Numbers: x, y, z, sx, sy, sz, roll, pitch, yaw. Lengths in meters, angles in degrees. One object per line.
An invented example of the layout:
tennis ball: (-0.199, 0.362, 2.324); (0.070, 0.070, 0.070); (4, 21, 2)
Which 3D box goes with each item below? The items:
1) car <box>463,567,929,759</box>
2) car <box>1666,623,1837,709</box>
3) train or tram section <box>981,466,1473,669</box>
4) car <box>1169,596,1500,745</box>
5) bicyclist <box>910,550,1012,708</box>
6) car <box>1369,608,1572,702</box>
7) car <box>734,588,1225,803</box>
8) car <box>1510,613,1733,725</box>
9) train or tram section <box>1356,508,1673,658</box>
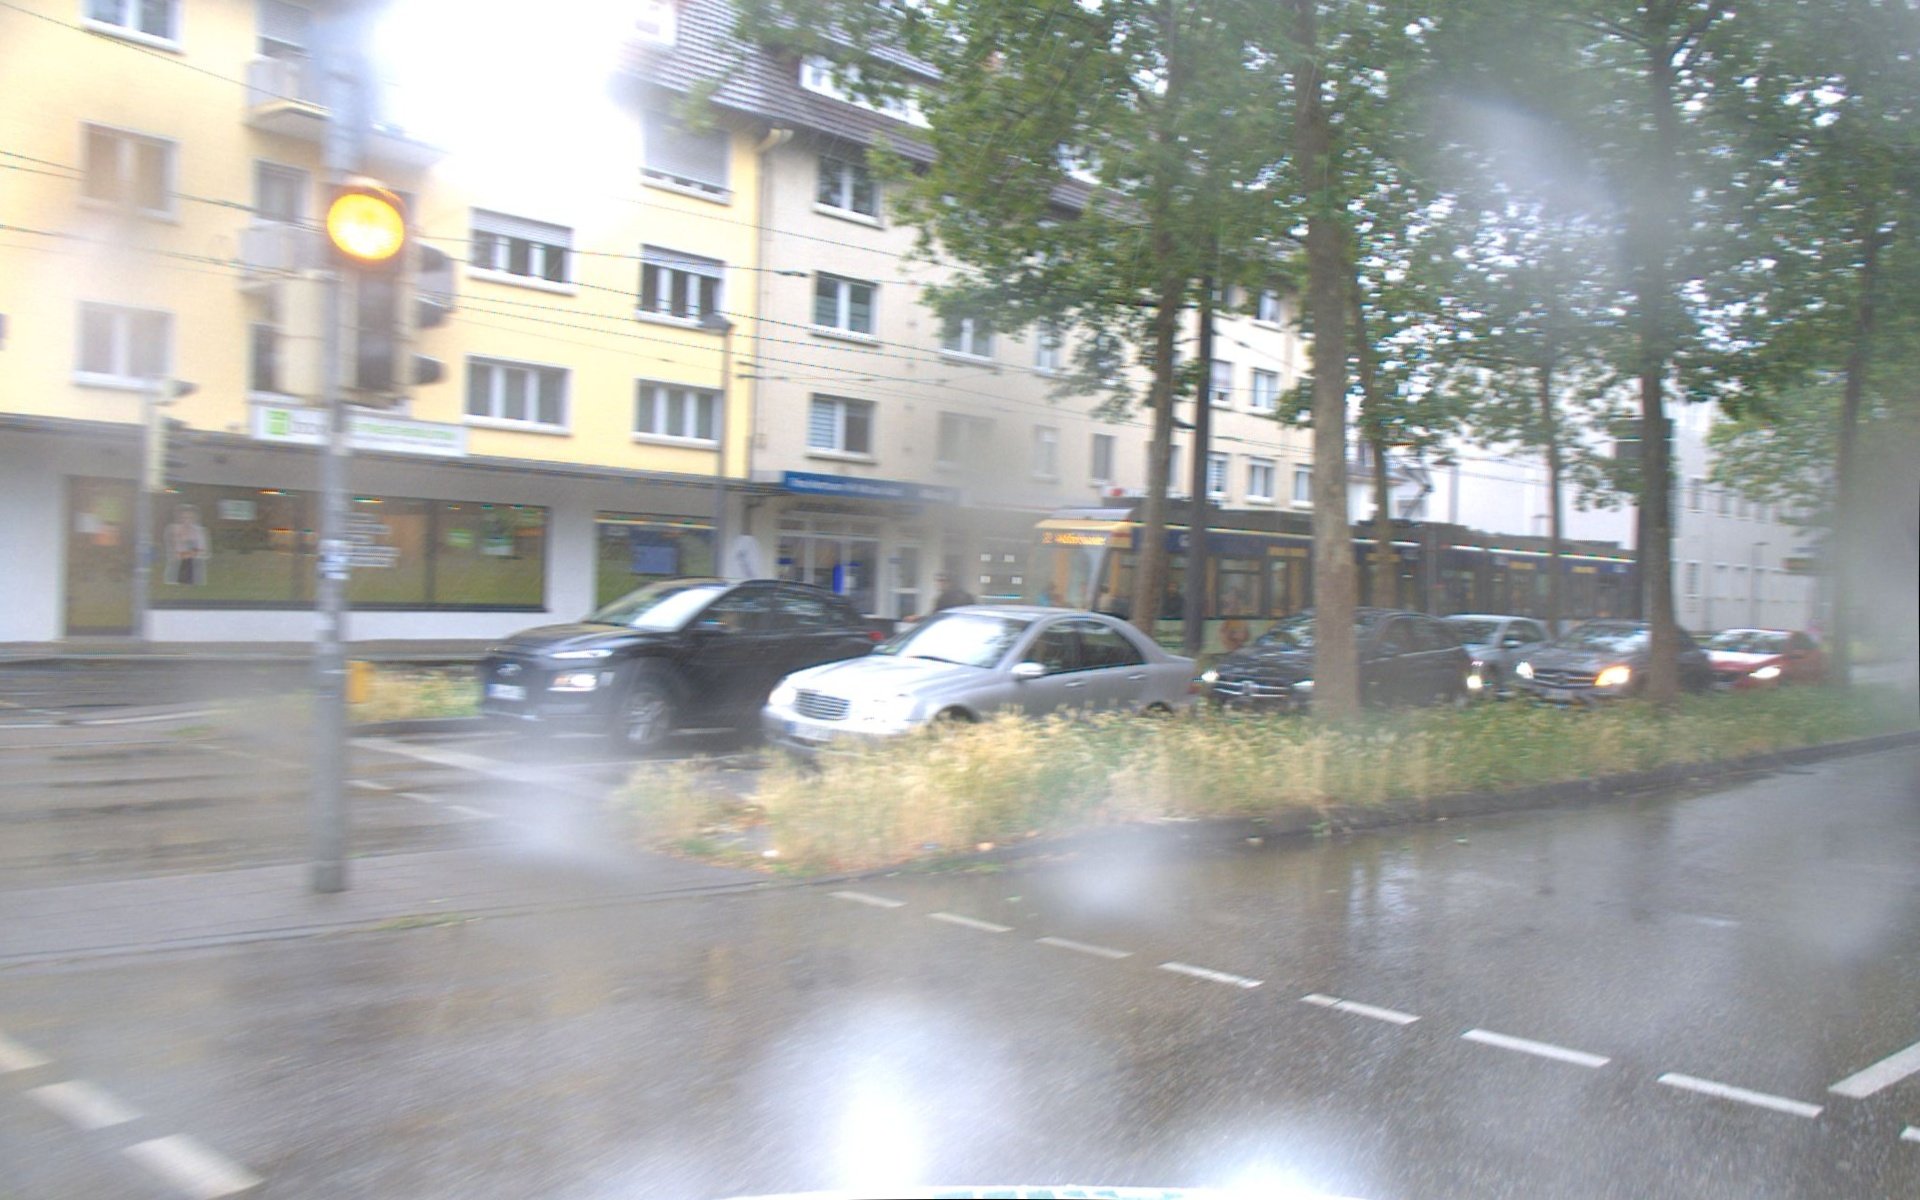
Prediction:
car: (-2.357, 0.525, 15.748); (1.843, 1.528, 4.265); (2, 1, 38)
car: (14.771, 1.178, 30.775); (1.716, 1.422, 4.206); (3, 1, 42)
train or tram section: (6.430, -0.543, 35.846); (3.062, 3.620, 14.486); (3, 1, 42)
car: (4.607, 0.775, 19.868); (1.830, 1.511, 4.611); (3, 1, 42)
bicyclist: (0.014, 0.334, 18.975); (0.701, 1.746, 0.885); (2, -1, 39)
car: (8.787, 0.900, 28.299); (1.717, 1.422, 4.104); (3, 1, 42)
car: (0.329, 0.720, 14.323); (1.710, 1.515, 4.473); (3, 1, 42)
car: (10.238, 1.004, 25.416); (1.717, 1.506, 4.403); (3, 1, 42)
train or tram section: (16.087, -0.376, 46.688); (3.060, 3.620, 14.590); (3, 1, 41)
